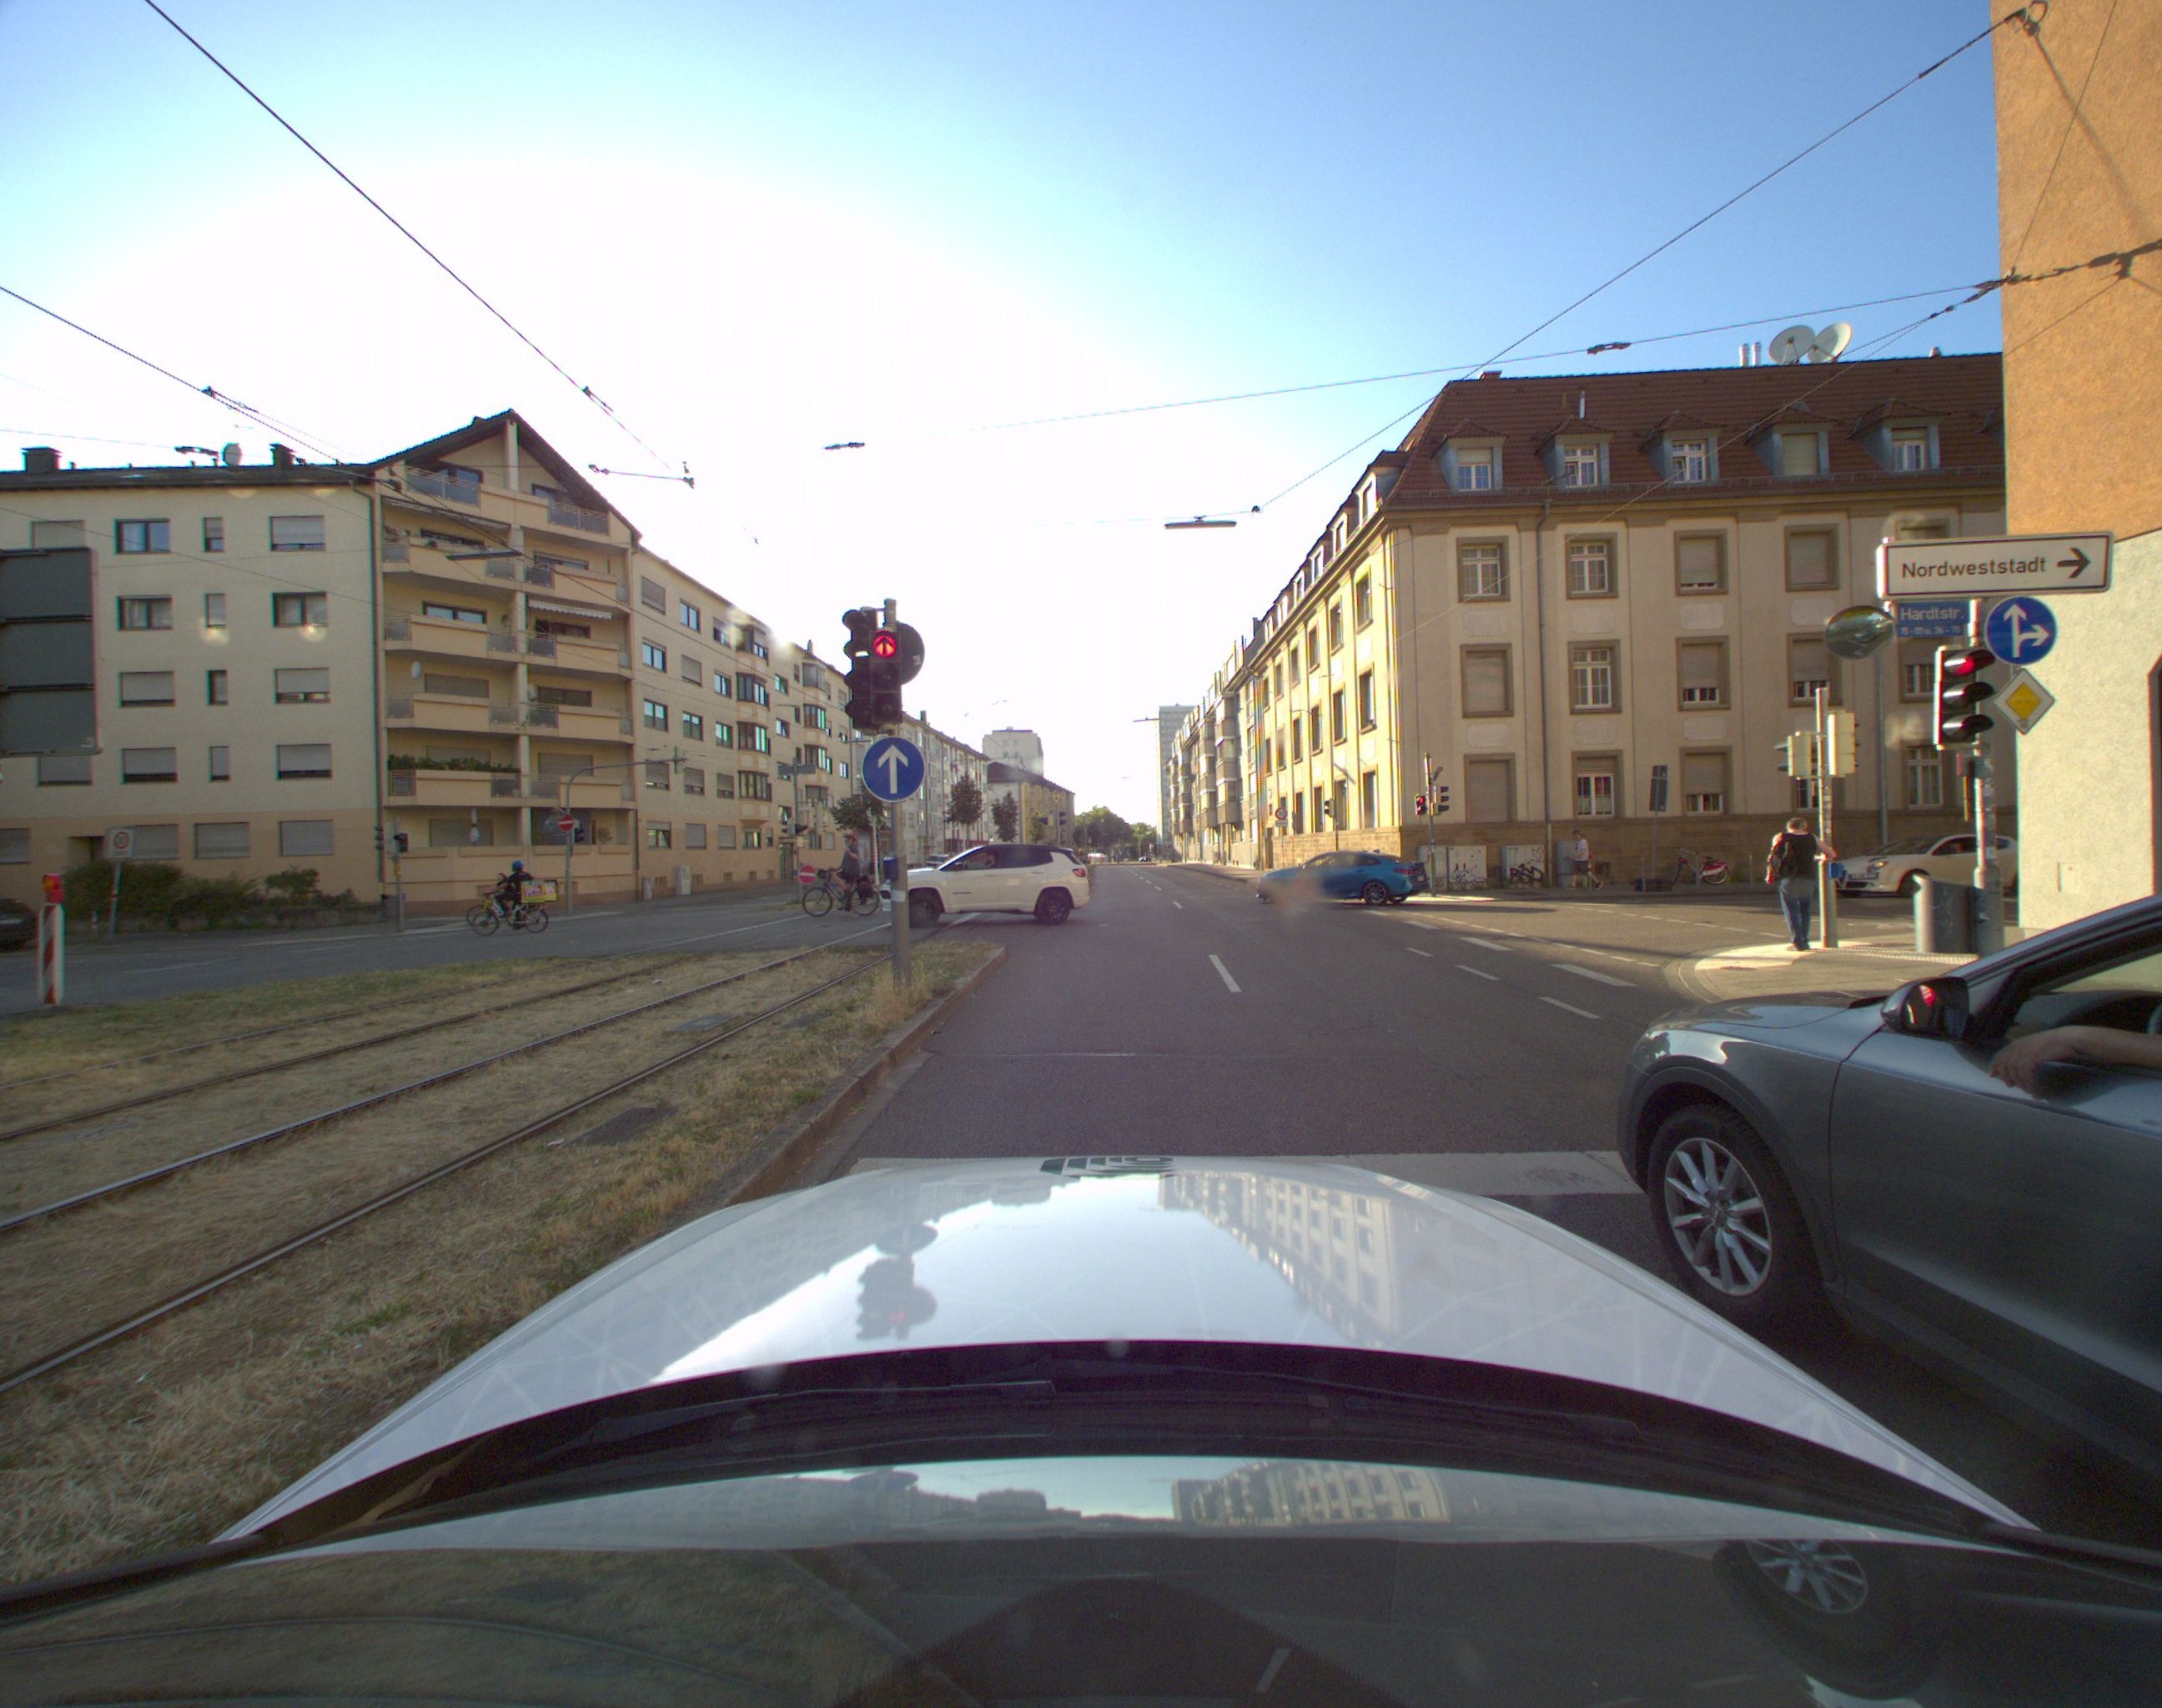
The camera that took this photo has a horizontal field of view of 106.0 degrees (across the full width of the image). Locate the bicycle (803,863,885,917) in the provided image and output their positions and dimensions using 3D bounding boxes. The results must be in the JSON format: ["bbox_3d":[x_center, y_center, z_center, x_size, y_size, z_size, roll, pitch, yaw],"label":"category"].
[{"bbox_3d":[-5.872,0.892,20.197,1.861,1.257,0.456,-1,1,-5],"label":"bicycle"}]

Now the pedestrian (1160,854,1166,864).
[{"bbox_3d":[10.165,0.661,101.000,0.688,1.234,0.737,0,-1,2],"label":"pedestrian"}]

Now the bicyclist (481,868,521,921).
[{"bbox_3d":[-18.119,1.247,25.452,0.620,1.586,0.814,-1,0,35],"label":"bicyclist"}]

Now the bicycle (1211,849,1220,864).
[{"bbox_3d":[10.261,0.194,61.924,0.382,1.096,1.503,-2,-1,0],"label":"bicycle"}]

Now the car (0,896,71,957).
[{"bbox_3d":[-30.119,1.994,21.519,3.982,1.442,1.996,-2,1,-6],"label":"car"}]

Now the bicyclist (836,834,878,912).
[{"bbox_3d":[-5.543,0.456,20.191,0.804,1.882,0.653,-2,1,-3],"label":"bicyclist"}]

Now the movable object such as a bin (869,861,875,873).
[{"bbox_3d":[-17.693,1.103,68.950,0.297,1.036,0.442,0,-1,5],"label":"movable object such as a bin"}]

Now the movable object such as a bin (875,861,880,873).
[{"bbox_3d":[-17.364,1.092,69.445,0.297,1.036,0.441,0,-1,1],"label":"movable object such as a bin"}]

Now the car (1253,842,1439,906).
[{"bbox_3d":[7.058,0.510,21.867,4.336,1.554,2.013,-1,-1,37],"label":"car"}]

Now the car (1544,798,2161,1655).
[{"bbox_3d":[2.803,0.674,1.434,1.691,1.552,4.227,0,0,2],"label":"car"}]

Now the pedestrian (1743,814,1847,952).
[{"bbox_3d":[9.412,0.371,10.765,0.627,1.758,0.826,0,-1,1],"label":"pedestrian"}]

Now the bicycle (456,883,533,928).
[{"bbox_3d":[-18.205,1.574,25.321,0.450,1.257,1.883,-1,1,34],"label":"bicycle"}]

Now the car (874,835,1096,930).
[{"bbox_3d":[-2.035,0.549,17.309,4.379,1.734,1.993,-2,0,-10],"label":"car"}]

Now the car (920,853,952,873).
[{"bbox_3d":[-14.562,0.918,82.122,1.984,1.925,4.548,0,-1,5],"label":"car"}]

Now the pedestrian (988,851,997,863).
[{"bbox_3d":[-12.291,0.445,112.956,0.957,1.670,1.013,0,-1,7],"label":"pedestrian"}]

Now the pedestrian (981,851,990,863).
[{"bbox_3d":[-13.176,0.437,112.447,0.957,1.694,1.013,0,-1,7],"label":"pedestrian"}]

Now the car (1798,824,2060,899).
[{"bbox_3d":[19.781,0.180,19.157,3.971,1.564,2.001,-2,-1,2],"label":"car"}]

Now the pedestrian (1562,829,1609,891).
[{"bbox_3d":[14.618,0.168,23.608,0.832,1.762,0.824,0,-1,1],"label":"pedestrian"}]
